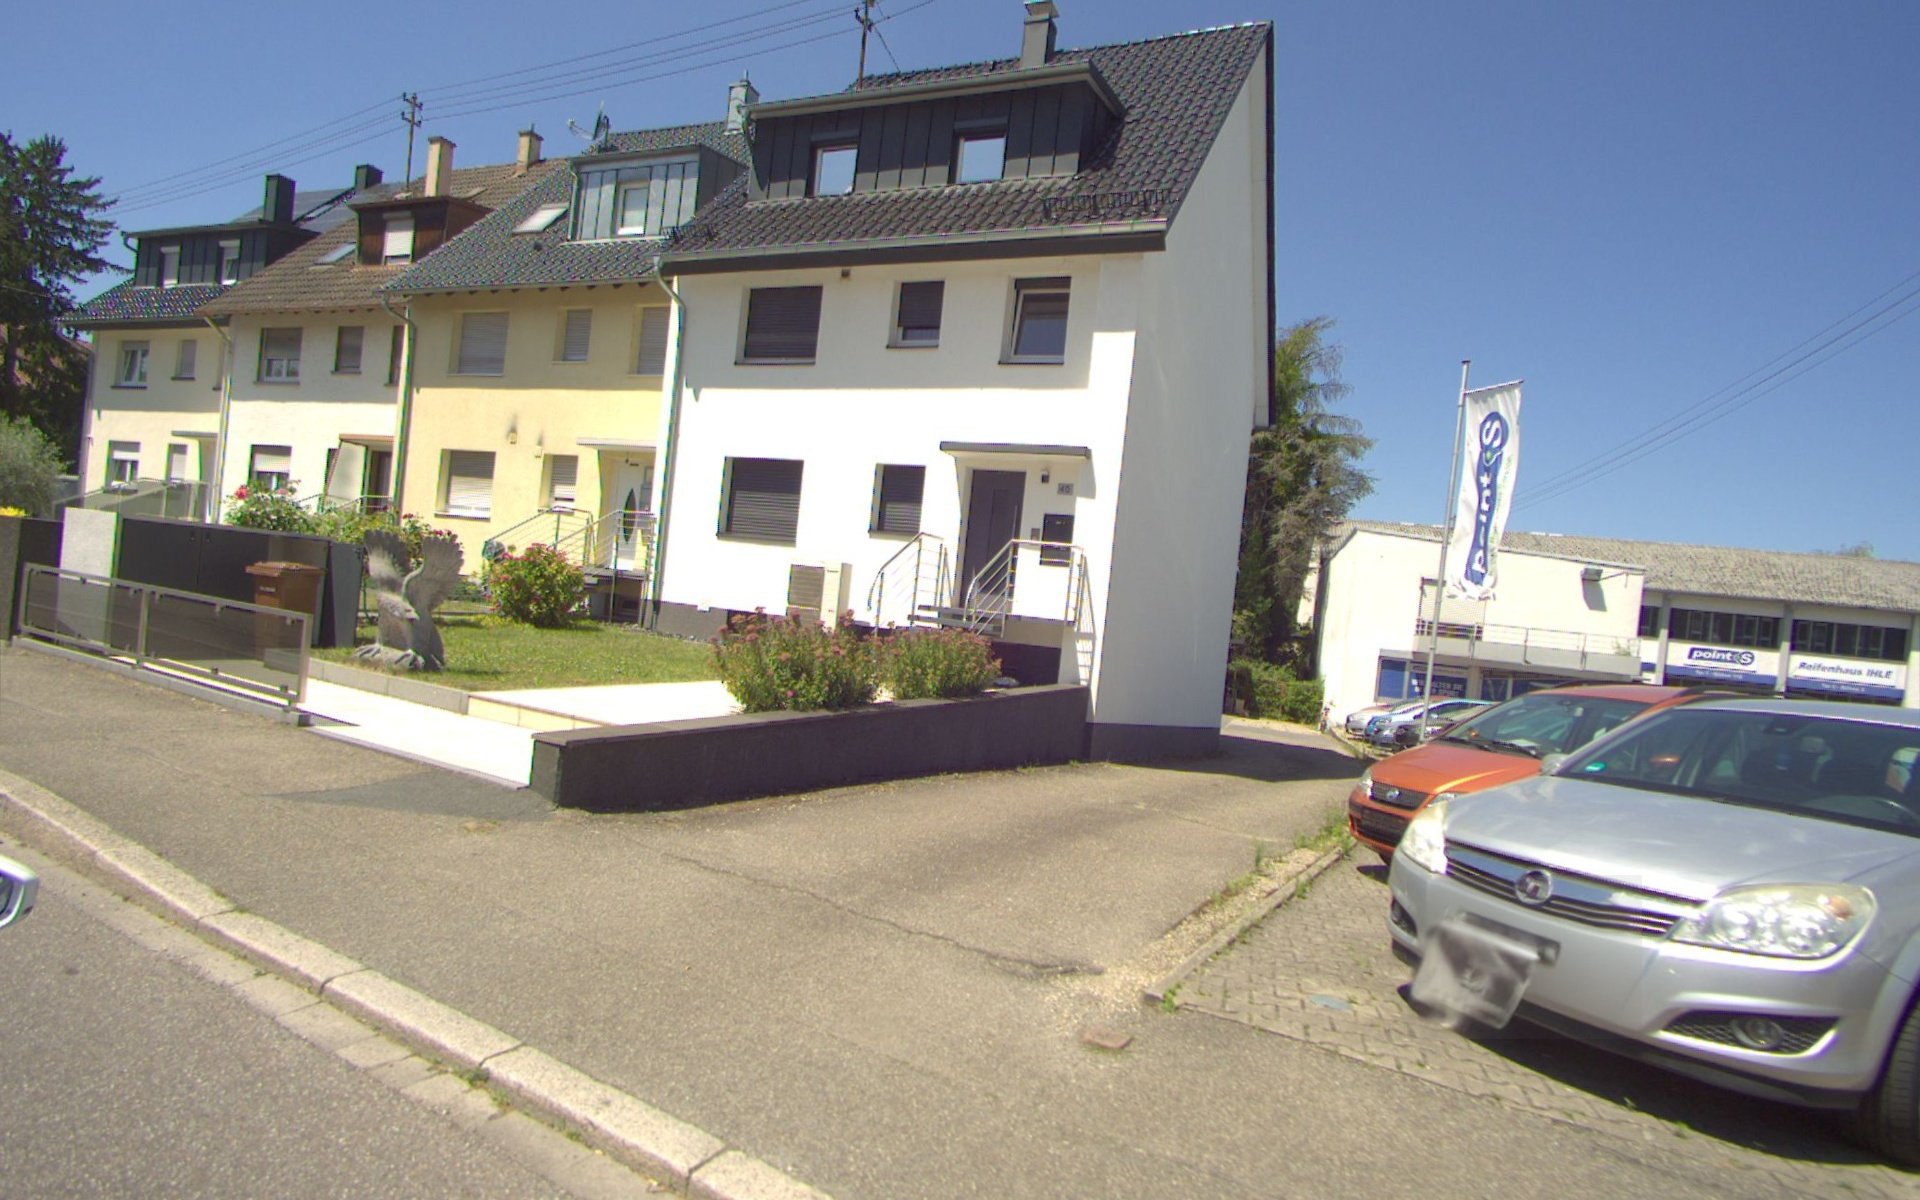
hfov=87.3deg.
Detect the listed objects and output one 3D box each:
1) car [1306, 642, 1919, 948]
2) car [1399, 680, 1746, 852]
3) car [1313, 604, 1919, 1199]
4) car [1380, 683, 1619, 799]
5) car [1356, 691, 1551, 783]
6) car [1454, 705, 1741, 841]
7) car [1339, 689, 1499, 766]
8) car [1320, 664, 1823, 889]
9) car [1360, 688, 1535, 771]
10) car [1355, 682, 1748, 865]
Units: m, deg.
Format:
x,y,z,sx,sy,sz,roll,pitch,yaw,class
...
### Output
x,y,z,sx,sy,sz,roll,pitch,yaw,class
4.969,1.391,7.404,4.234,1.661,1.637,7,-2,-12,car
8.611,2.292,14.405,3.772,1.743,1.627,8,-2,5,car
3.811,1.087,4.400,4.255,1.565,1.746,9,-3,-27,car
11.174,2.887,21.094,3.878,1.697,1.777,8,-1,8,car
11.666,3.225,24.005,3.709,1.548,1.670,7,-2,9,car
10.243,2.750,16.363,3.494,1.548,1.559,8,-4,5,car
12.876,3.566,28.450,3.709,1.548,1.670,7,-2,13,car
5.926,1.690,9.930,4.052,1.579,1.712,8,-3,-11,car
12.679,3.354,26.390,3.709,1.548,1.670,7,-2,13,car
7.034,2.037,12.205,3.704,1.579,1.626,7,-2,-1,car
